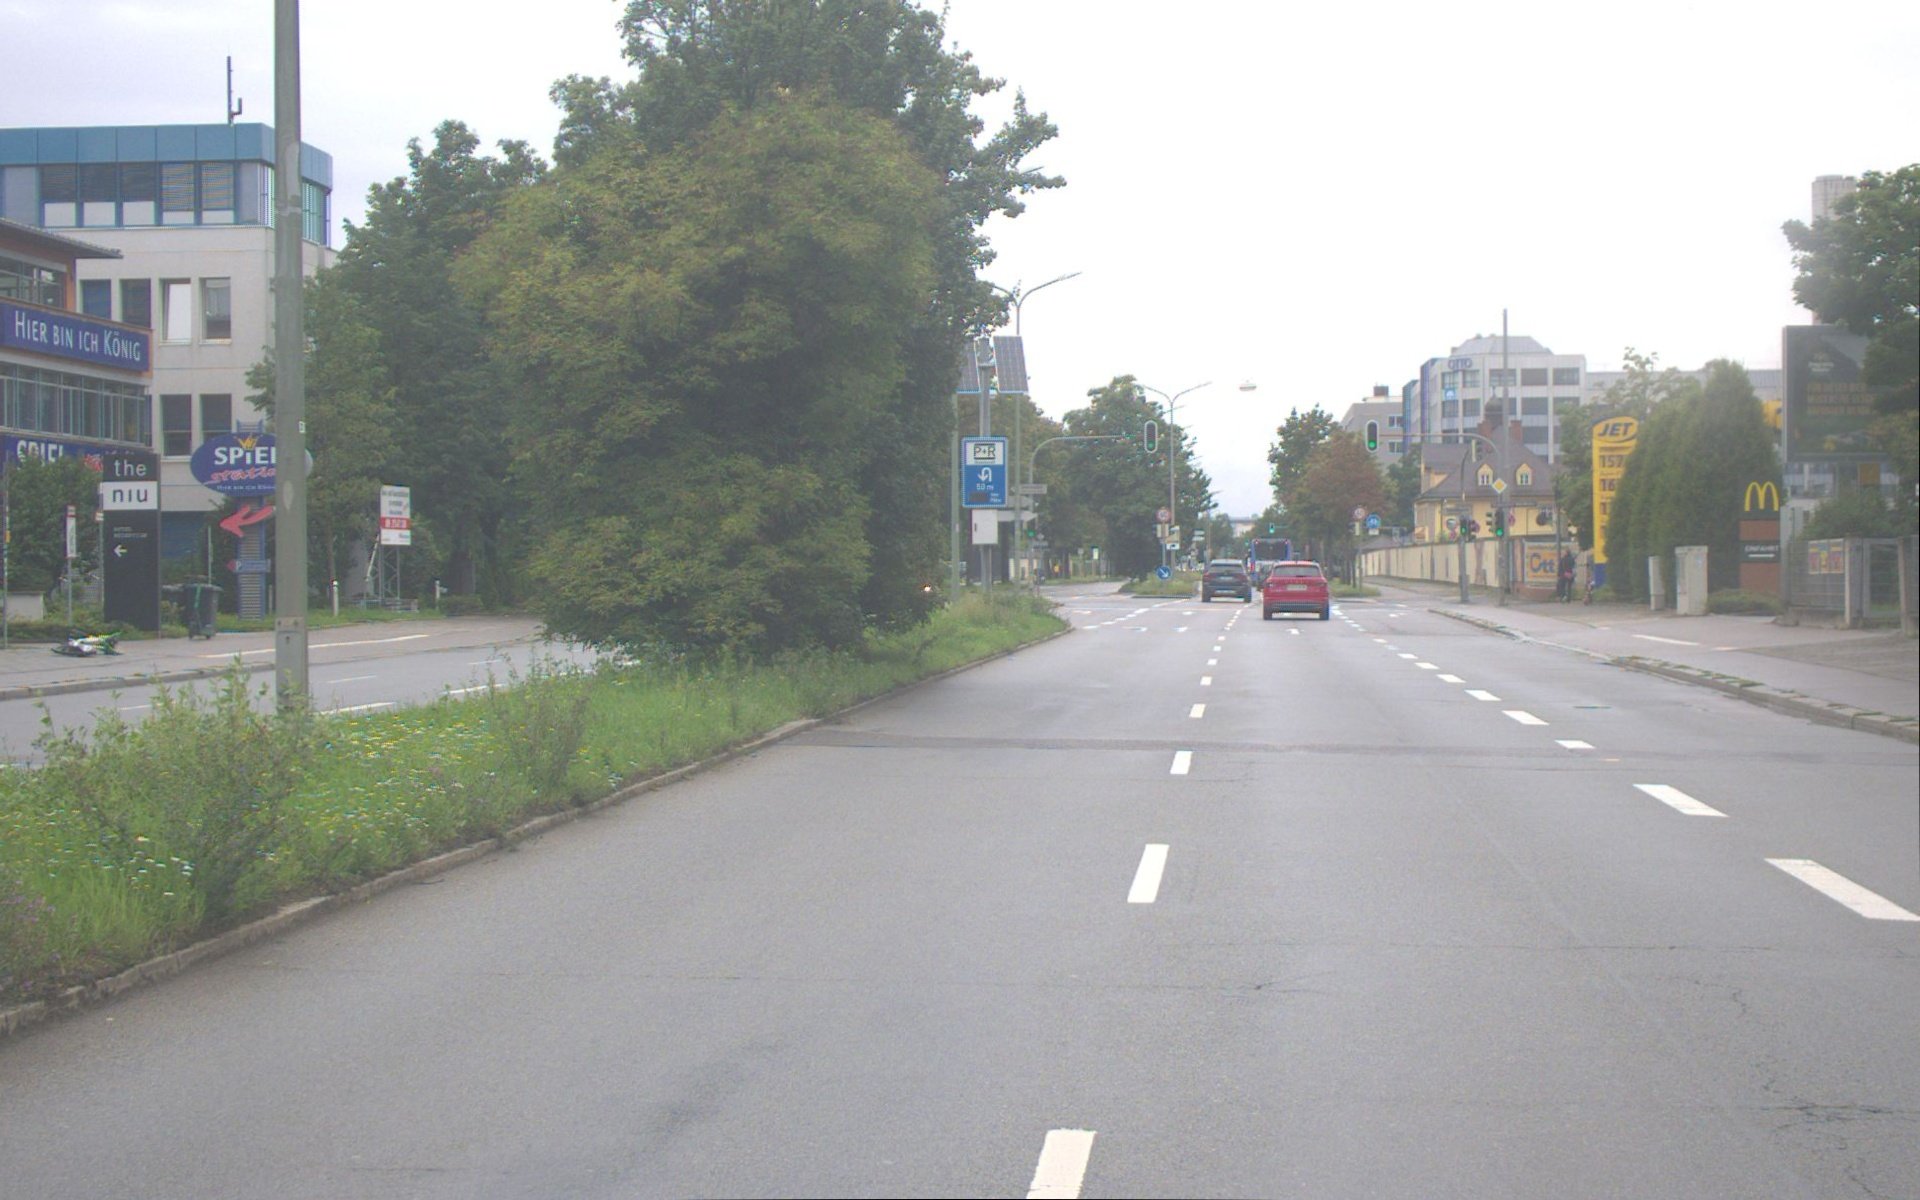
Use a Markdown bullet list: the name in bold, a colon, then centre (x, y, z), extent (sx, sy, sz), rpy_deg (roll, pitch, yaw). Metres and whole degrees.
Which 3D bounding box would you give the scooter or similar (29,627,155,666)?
- **scooter or similar**: centre (-14.600, 0.790, 57.890), extent (1.468, 0.583, 2.320), rpy_deg (-1, -2, 2)

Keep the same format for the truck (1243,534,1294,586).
- **truck**: centre (20.039, -2.606, 223.629), extent (2.969, 3.274, 7.915), rpy_deg (0, 1, 3)

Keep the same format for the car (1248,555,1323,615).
- **car**: centre (8.928, -0.418, 94.514), extent (1.862, 1.612, 4.000), rpy_deg (0, 0, 3)

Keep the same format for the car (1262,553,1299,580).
- **car**: centre (17.243, -1.776, 185.176), extent (1.803, 1.428, 4.000), rpy_deg (0, 0, 3)

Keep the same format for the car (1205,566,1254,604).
- **car**: centre (10.460, -0.594, 133.738), extent (1.803, 1.428, 4.000), rpy_deg (-1, 1, 3)
